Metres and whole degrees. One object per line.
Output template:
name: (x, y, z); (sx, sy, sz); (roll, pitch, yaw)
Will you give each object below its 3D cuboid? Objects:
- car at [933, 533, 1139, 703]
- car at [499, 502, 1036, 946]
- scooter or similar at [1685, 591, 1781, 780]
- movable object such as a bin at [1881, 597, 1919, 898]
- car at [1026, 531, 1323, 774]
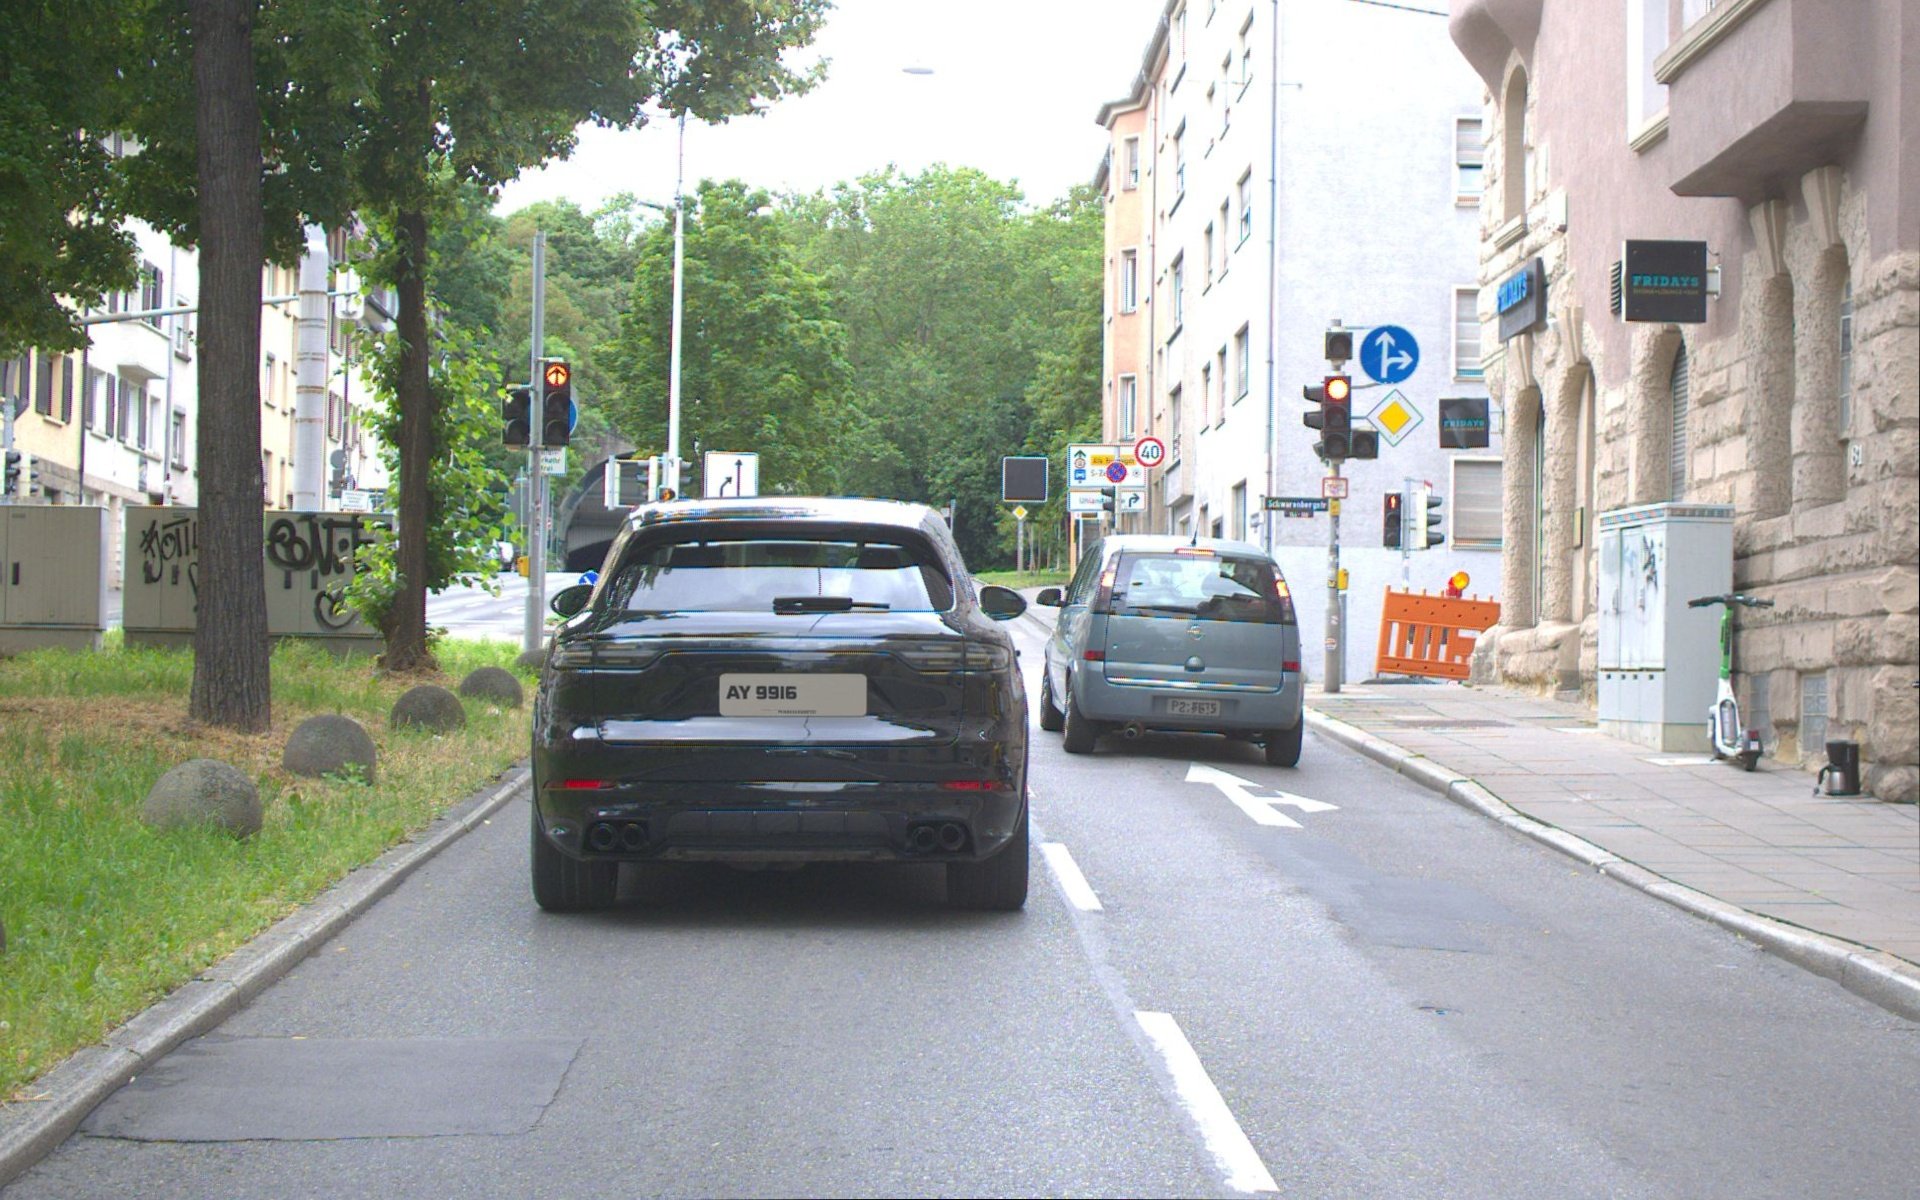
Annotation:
car: (0.722, 0.159, 35.518); (1.994, 1.647, 4.000); (0, 1, -1)
car: (-0.737, 0.408, 14.819); (1.994, 1.647, 4.000); (0, 2, -1)
scooter or similar: (5.227, 0.563, 23.300); (0.401, 1.184, 1.354); (0, 3, 3)
movable object such as a bin: (4.890, 0.695, 15.904); (0.719, 1.416, 1.693); (0, 0, -3)
car: (1.528, 0.333, 25.695); (1.752, 1.588, 3.631); (3, 1, -3)
